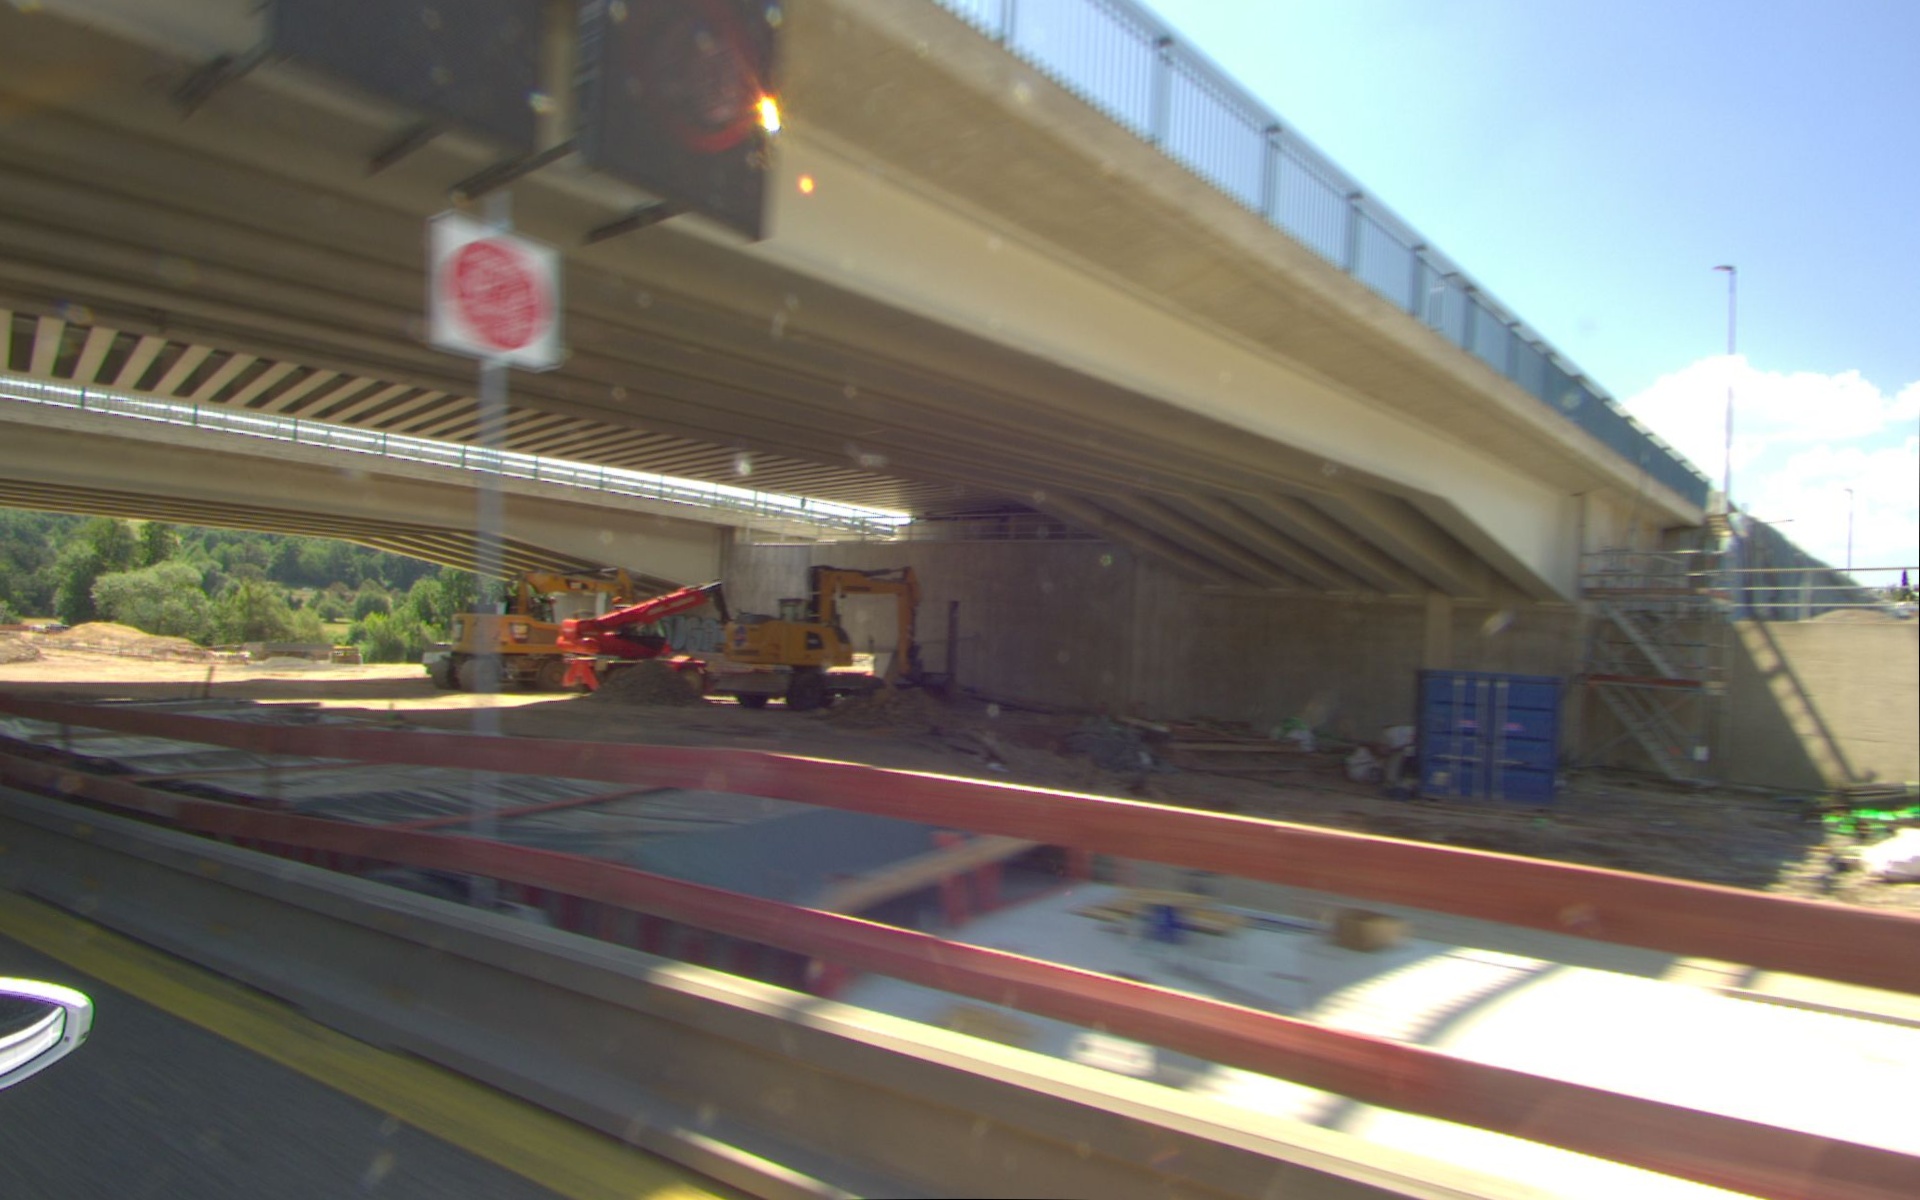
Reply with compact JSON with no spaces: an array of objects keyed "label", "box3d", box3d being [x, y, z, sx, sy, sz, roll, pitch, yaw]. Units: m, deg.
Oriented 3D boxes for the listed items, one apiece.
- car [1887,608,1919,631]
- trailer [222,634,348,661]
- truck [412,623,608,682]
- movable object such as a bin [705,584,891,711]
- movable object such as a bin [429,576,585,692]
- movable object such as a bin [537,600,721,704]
[{"label":"car","box3d":[82.915,1.654,85.757,4.923,1.983,1.988,-2,-3,37]},{"label":"trailer","box3d":[-33.012,2.333,49.095,2.027,1.235,4.706,-2,-3,32]},{"label":"truck","box3d":[-17.371,2.081,39.076,2.630,2.099,6.507,0,-3,35]},{"label":"movable object such as a bin","box3d":[-4.592,1.434,28.942,2.952,3.326,4.542,-2,-4,36]},{"label":"movable object such as a bin","box3d":[-15.045,1.219,33.345,2.873,3.585,3.862,-2,-5,43]},{"label":"movable object such as a bin","box3d":[-10.679,1.742,32.711,2.464,3.093,5.227,-2,-4,36]}]
